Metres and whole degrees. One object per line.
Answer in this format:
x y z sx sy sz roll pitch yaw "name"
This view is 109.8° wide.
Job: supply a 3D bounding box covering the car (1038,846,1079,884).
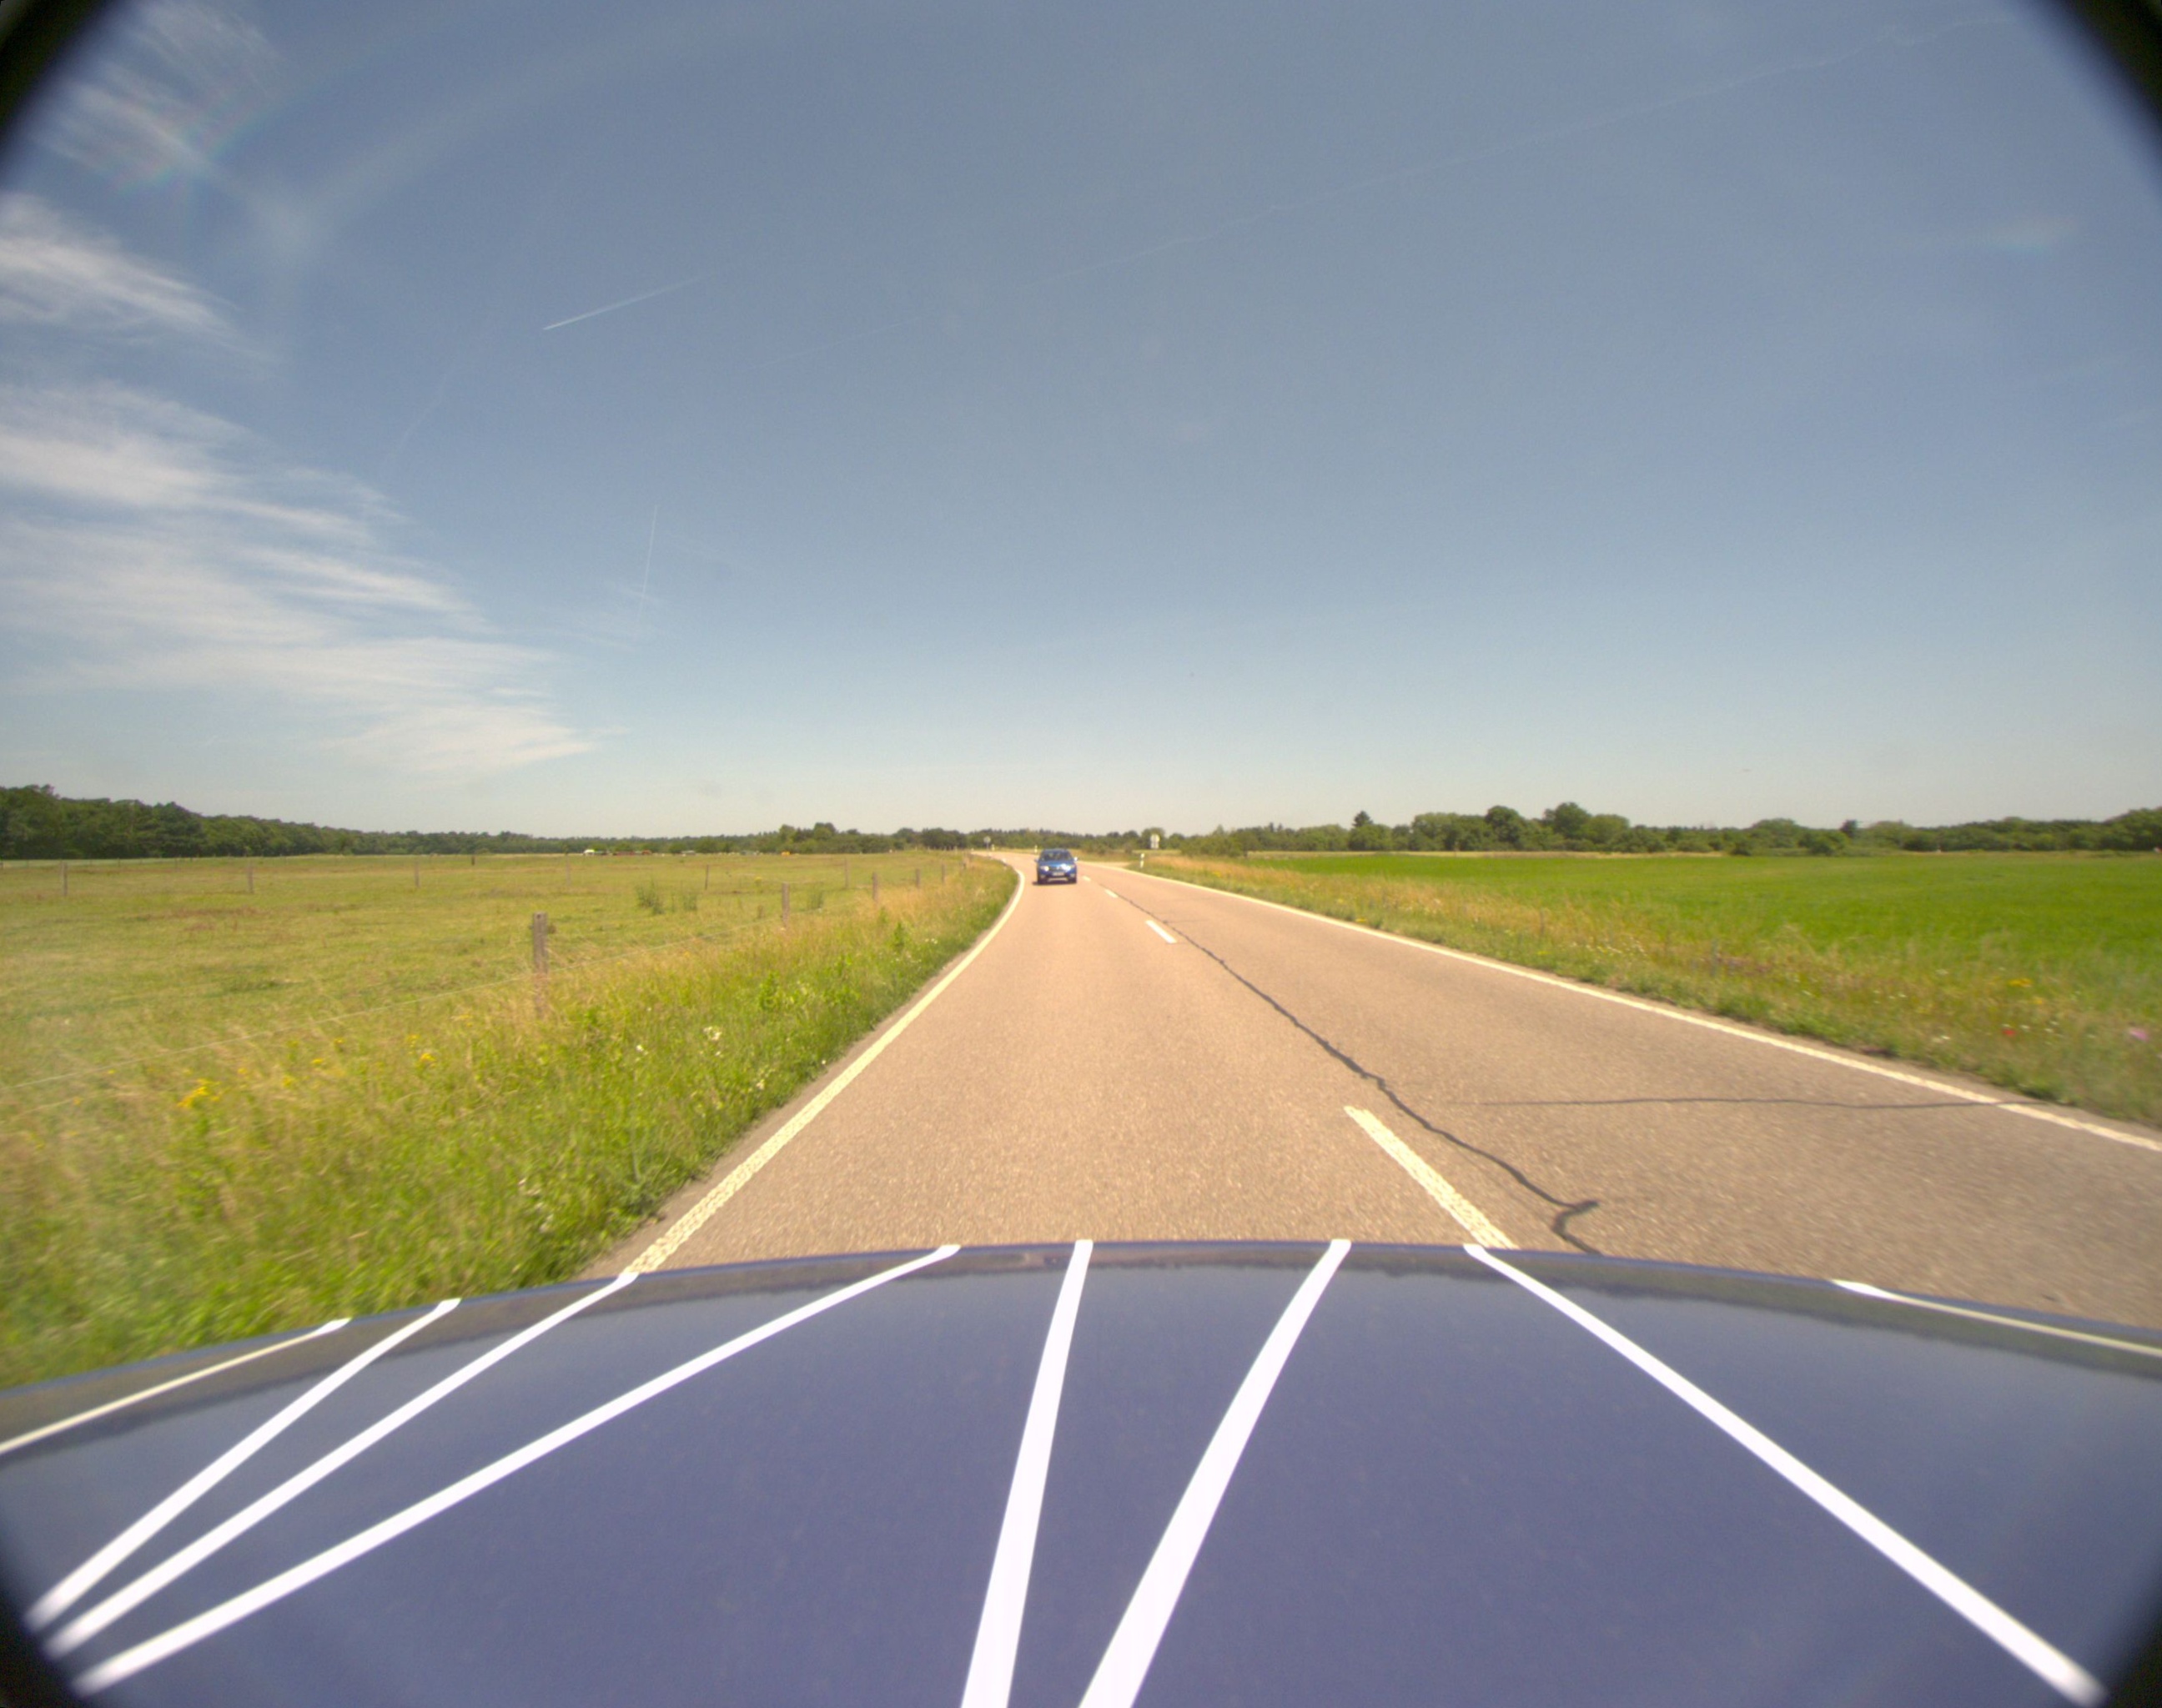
-1.026 0.480 35.057 1.734 1.572 3.999 -3 1 -1 "car"
